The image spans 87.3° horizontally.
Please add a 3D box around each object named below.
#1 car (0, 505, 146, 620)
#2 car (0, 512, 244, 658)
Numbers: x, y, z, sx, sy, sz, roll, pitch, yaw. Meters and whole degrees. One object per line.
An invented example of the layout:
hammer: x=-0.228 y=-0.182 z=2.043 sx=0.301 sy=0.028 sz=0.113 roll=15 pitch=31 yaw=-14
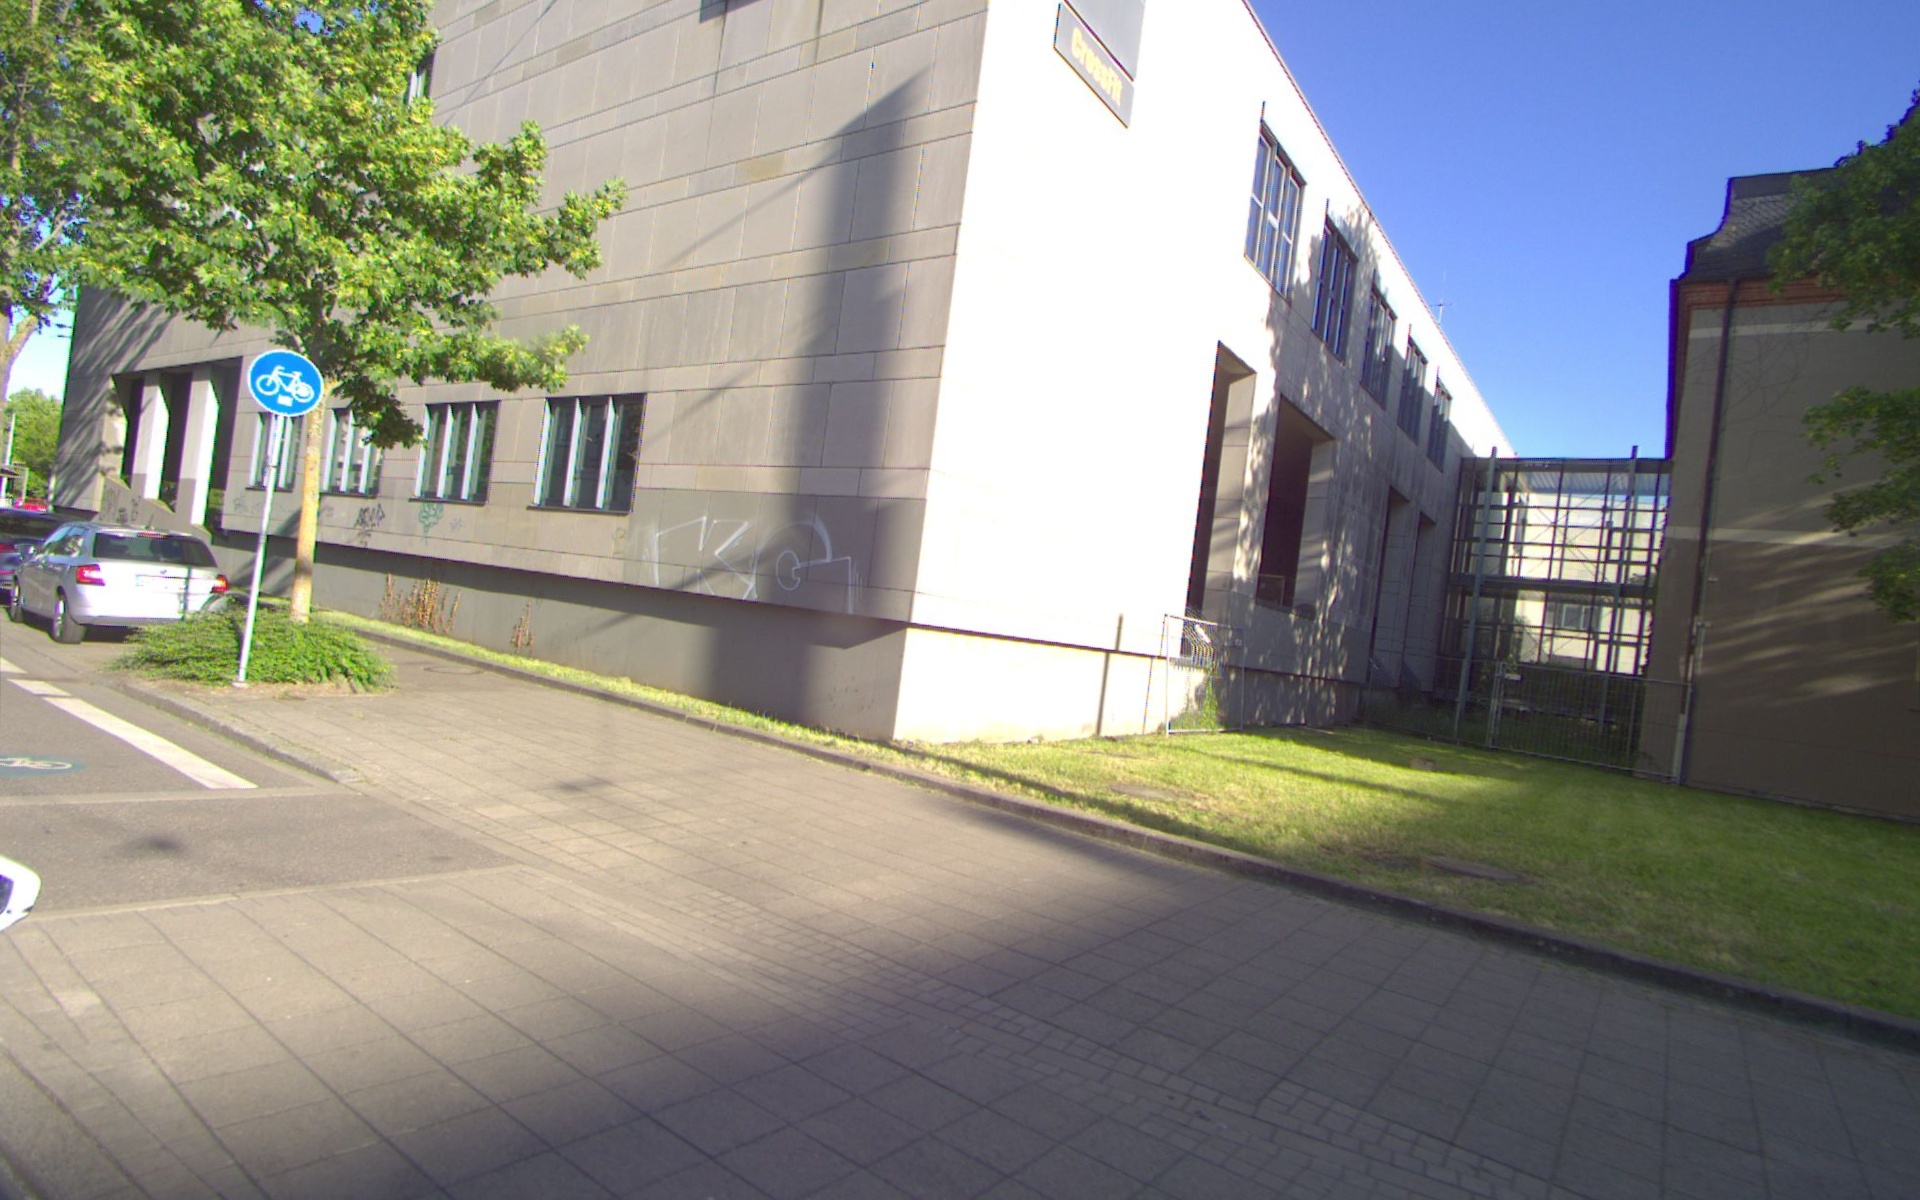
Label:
car: x=-15.217 y=-0.729 z=16.317 sx=4.569 sy=1.508 sz=1.841 roll=6 pitch=-1 yaw=35
car: x=-11.278 y=-0.233 z=13.385 sx=3.855 sy=1.472 sz=1.642 roll=6 pitch=-1 yaw=37
